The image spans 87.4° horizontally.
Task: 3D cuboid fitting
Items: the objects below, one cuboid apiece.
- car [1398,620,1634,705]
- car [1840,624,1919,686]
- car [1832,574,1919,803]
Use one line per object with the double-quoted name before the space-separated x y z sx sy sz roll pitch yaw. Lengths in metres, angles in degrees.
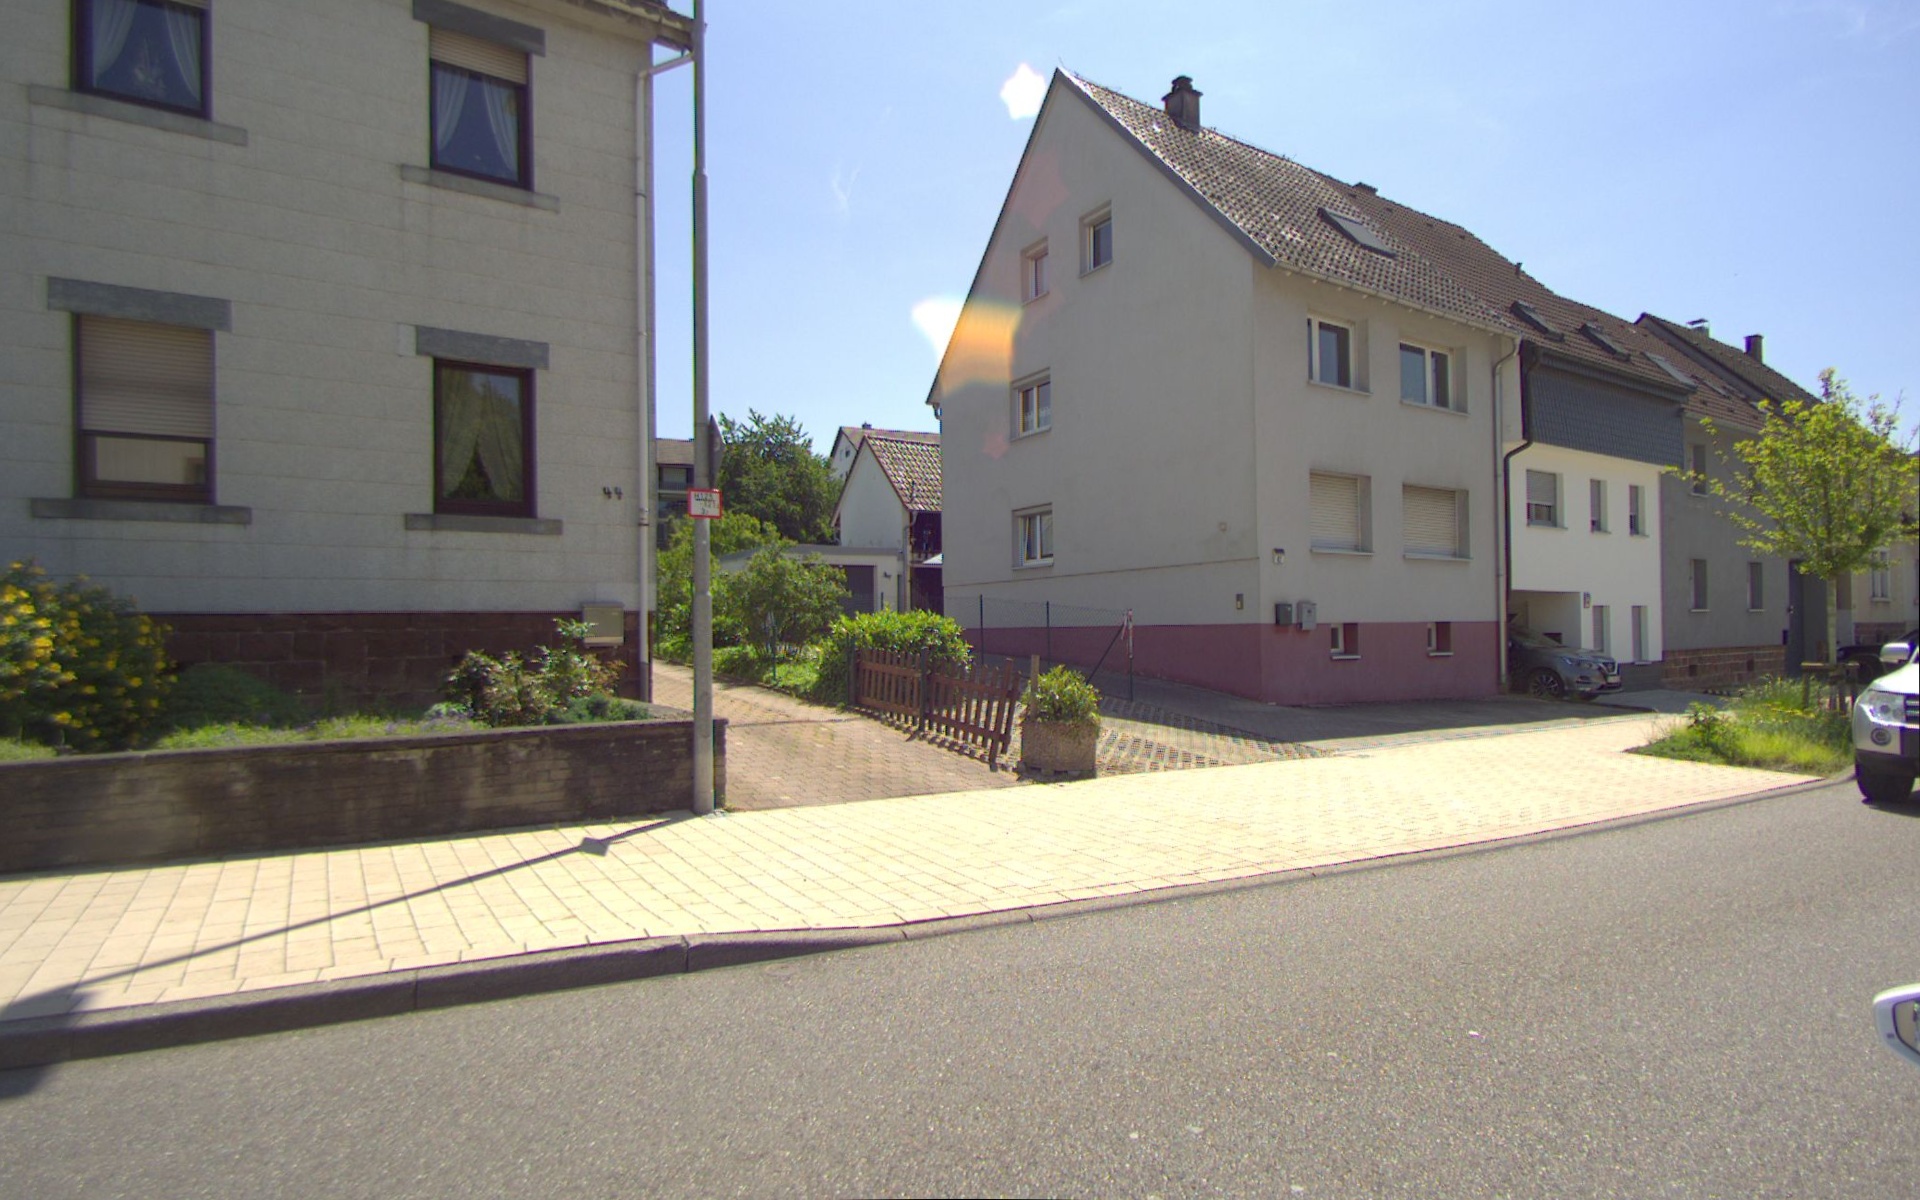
"car" 11.499 1.232 21.015 1.813 1.566 3.964 1 -1 -33
"car" 28.526 1.600 29.012 1.859 1.773 4.367 2 -2 -34
"car" 9.982 0.791 9.204 4.530 1.885 1.878 2 -1 -34
